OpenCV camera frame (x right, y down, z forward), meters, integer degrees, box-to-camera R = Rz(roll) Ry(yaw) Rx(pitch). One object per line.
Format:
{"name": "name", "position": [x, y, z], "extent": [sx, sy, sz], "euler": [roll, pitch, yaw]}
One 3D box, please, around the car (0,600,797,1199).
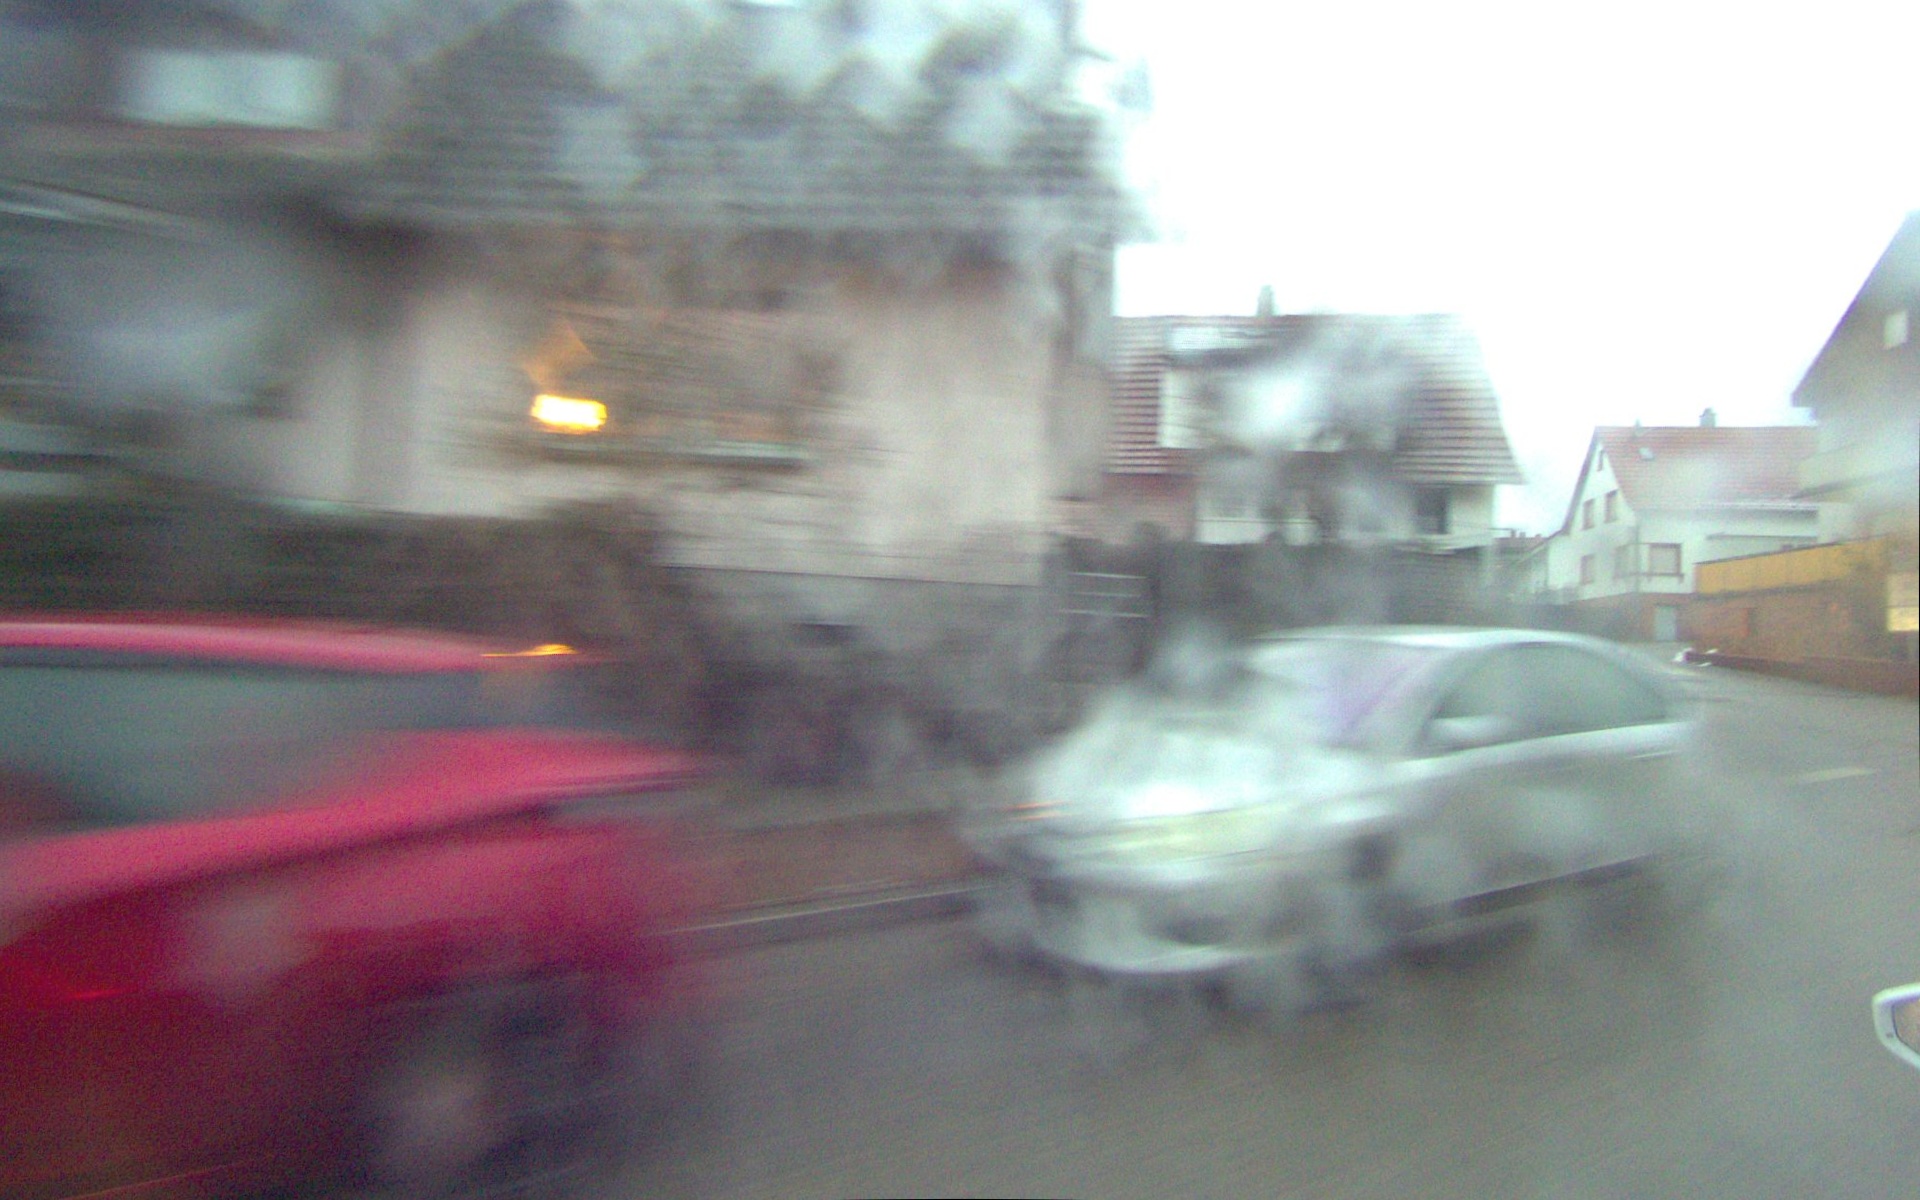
{"name": "car", "position": [-2.618, 0.728, 2.458], "extent": [4.019, 1.460, 1.815], "euler": [1, -1, -30]}

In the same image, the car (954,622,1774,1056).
{"name": "car", "position": [2.169, 0.836, 5.115], "extent": [4.097, 1.407, 1.740], "euler": [1, 0, -30]}
